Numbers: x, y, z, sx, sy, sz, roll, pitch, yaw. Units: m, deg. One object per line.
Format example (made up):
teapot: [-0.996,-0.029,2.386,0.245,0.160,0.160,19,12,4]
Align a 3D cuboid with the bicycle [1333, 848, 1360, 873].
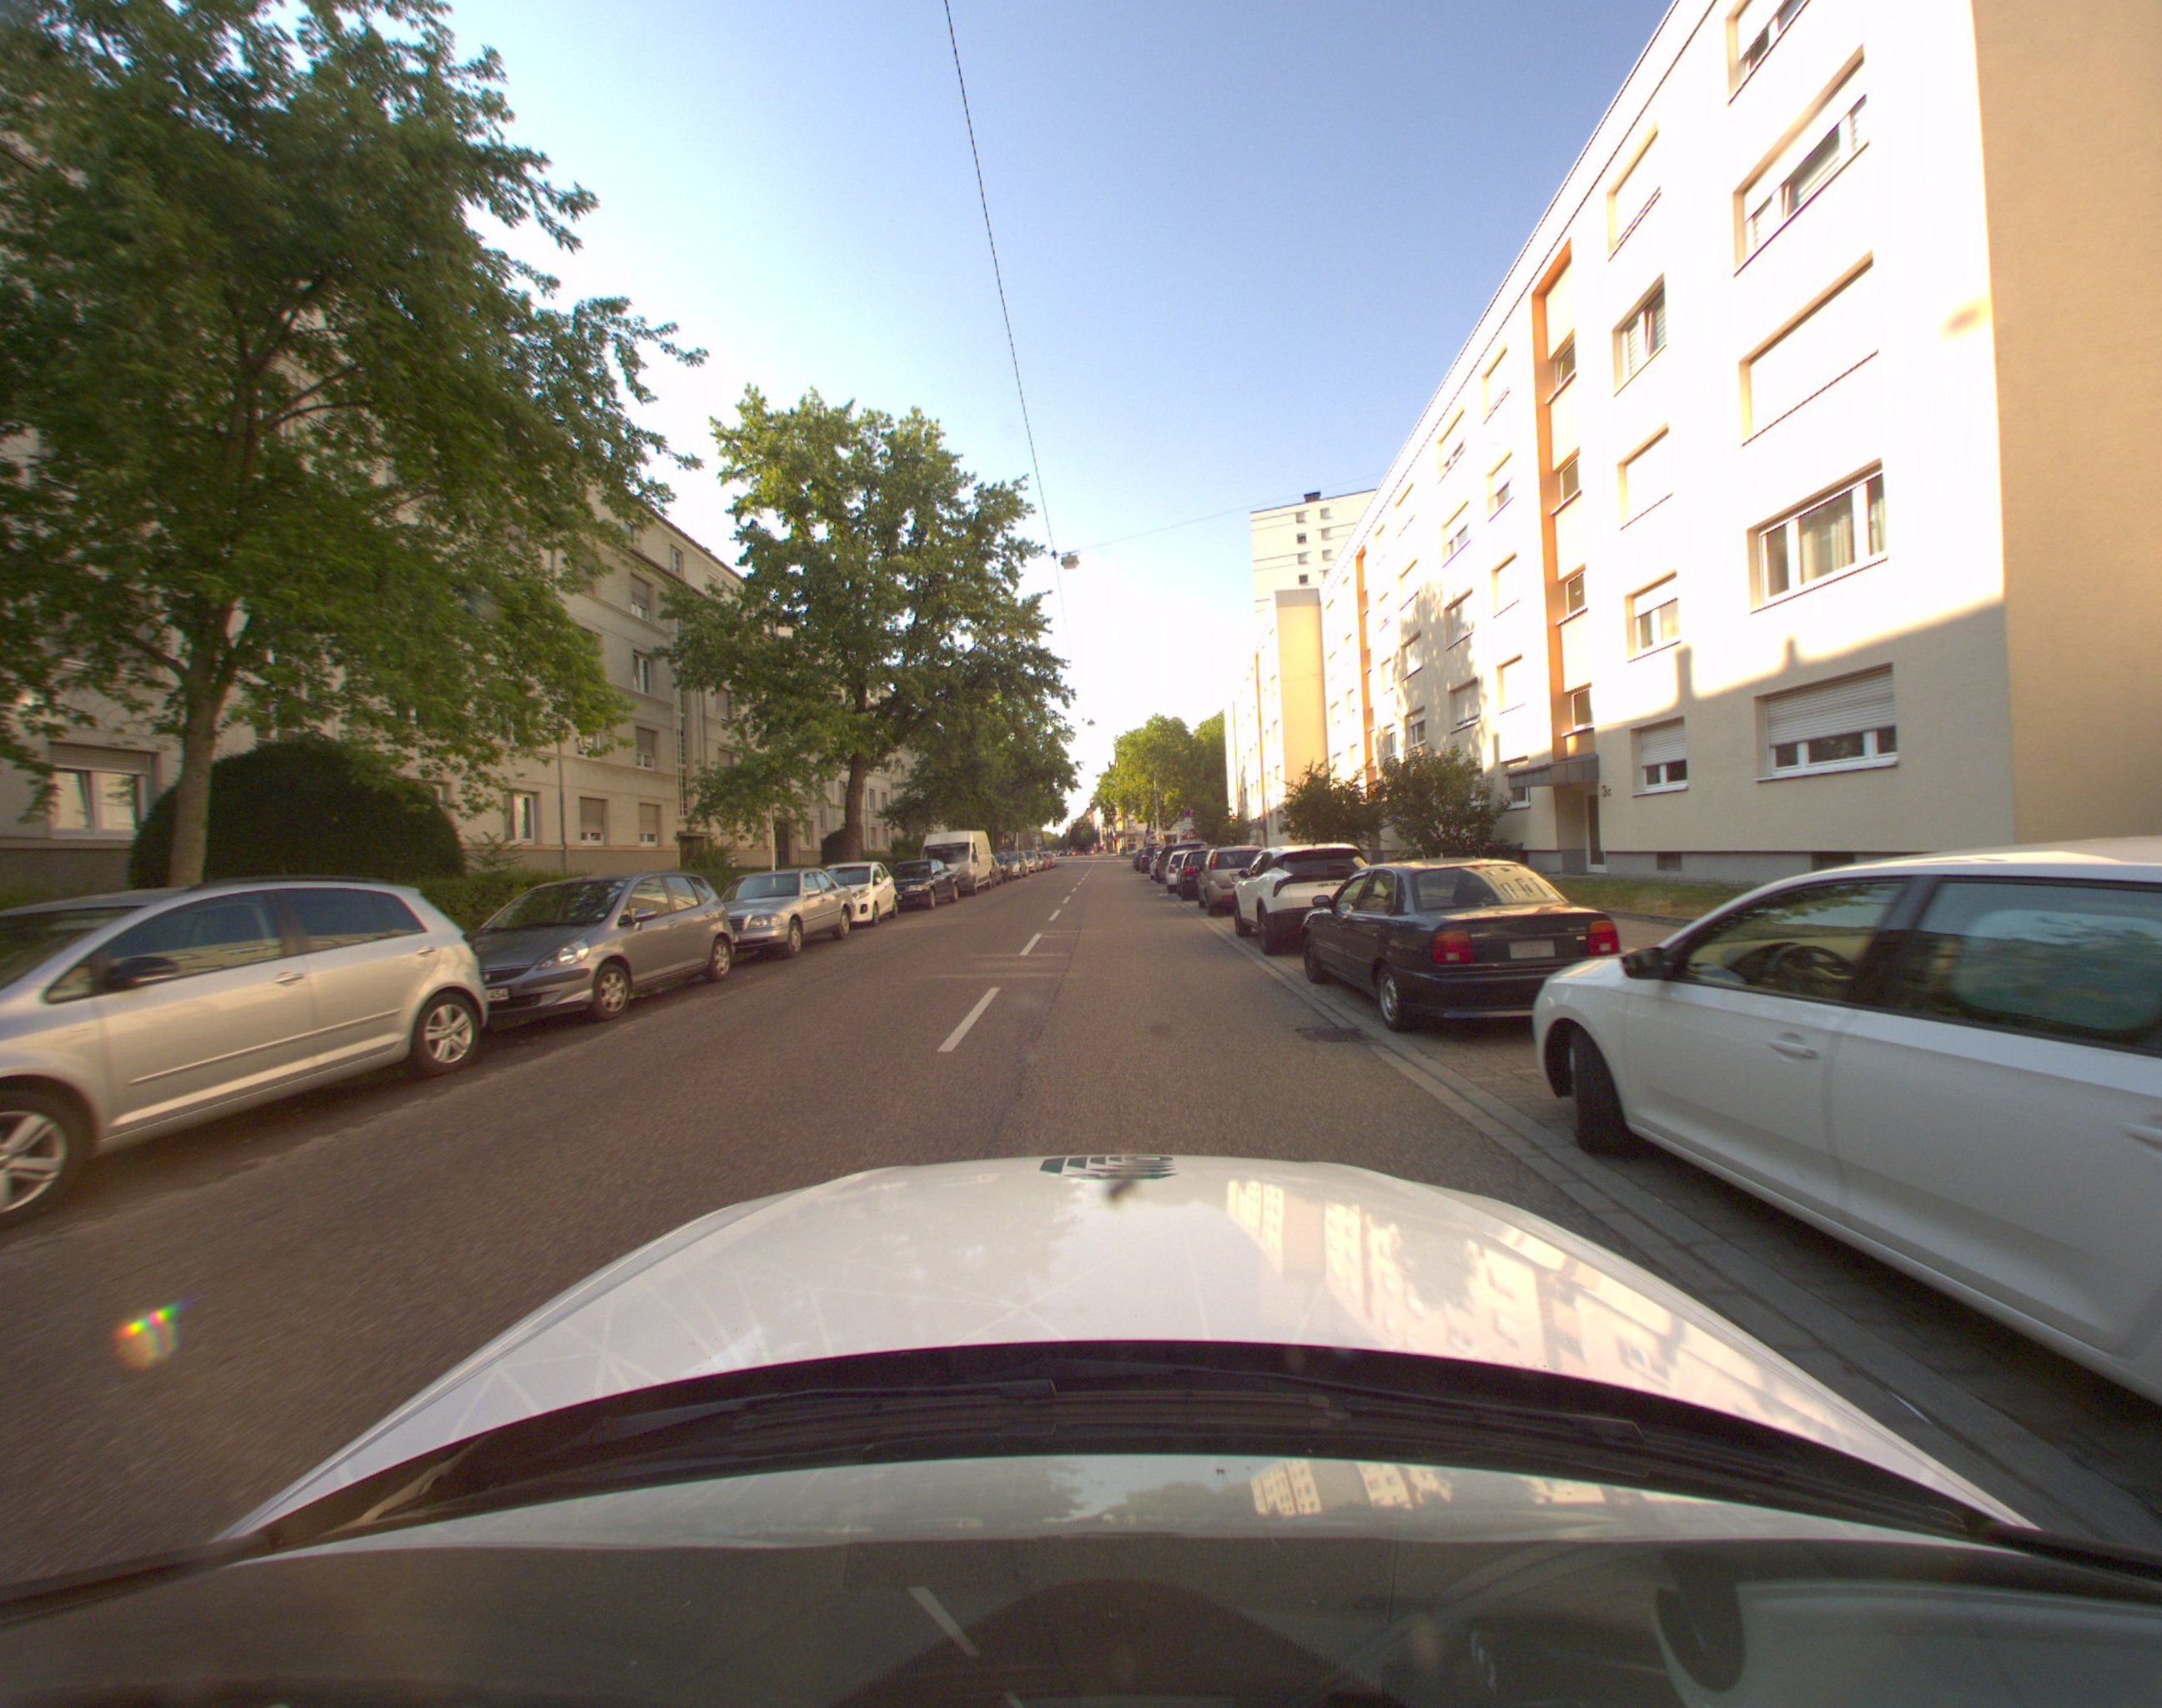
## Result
bicycle: [12.999,0.302,39.883,0.598,1.081,2.394,-2,1,2]

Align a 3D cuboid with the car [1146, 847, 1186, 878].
car: [4.176,0.432,40.503,1.673,1.415,4.725,0,-1,2]

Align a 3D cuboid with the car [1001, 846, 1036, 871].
car: [-4.131,0.320,54.304,1.864,1.558,4.102,0,-1,2]

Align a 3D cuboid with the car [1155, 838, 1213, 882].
car: [4.336,0.260,34.921,2.016,1.750,4.768,0,-1,2]

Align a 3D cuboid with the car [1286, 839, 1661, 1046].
car: [3.277,0.650,7.847,1.654,1.438,4.314,0,-1,2]

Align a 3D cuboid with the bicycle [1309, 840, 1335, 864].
bicycle: [11.740,-0.107,39.802,0.598,1.081,2.394,-2,1,2]

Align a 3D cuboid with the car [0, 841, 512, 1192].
car: [-5.745,0.790,4.812,1.867,1.552,3.999,-3,-1,0]

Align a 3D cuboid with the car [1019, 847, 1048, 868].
car: [-3.684,0.307,64.194,1.864,1.558,4.498,0,-1,2]

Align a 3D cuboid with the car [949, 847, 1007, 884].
car: [-4.631,0.531,37.317,1.949,1.558,4.347,0,-1,2]

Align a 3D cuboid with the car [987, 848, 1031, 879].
car: [-4.152,0.501,47.816,1.864,1.558,5.058,-6,0,1]

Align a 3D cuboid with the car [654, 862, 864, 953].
car: [-5.429,0.840,14.503,1.867,1.355,4.652,0,-1,0]

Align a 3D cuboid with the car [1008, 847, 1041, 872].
car: [-4.066,0.426,59.077,1.909,1.677,4.975,0,-1,2]

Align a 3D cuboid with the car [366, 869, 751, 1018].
car: [-5.616,0.858,9.504,1.867,1.355,3.999,0,-1,0]

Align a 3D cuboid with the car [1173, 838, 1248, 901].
car: [3.908,0.482,25.106,1.830,1.772,3.980,0,-1,2]

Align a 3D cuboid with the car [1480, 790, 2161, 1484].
car: [3.175,0.565,2.658,1.765,1.453,4.001,-6,-1,2]

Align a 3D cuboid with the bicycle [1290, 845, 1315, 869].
bicycle: [10.799,0.140,39.703,0.598,1.081,2.394,-2,1,2]

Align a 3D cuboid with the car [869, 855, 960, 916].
car: [-4.890,0.893,24.421,1.701,1.574,3.821,-3,-1,2]

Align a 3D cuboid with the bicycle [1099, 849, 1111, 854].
bicycle: [5.798,-0.621,198.288,2.800,1.203,0.515,0,-1,-7]

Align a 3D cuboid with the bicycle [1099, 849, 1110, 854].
bicycle: [5.674,-0.645,196.744,2.798,1.203,0.509,0,-1,-5]

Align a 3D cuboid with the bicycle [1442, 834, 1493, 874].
bicycle: [11.672,0.019,24.658,0.491,1.113,2.398,-6,-1,5]

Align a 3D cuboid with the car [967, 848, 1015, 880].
car: [-4.637,0.534,42.553,1.864,1.558,4.367,0,-1,2]

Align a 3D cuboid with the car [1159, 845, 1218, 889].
car: [3.853,0.468,29.687,1.829,1.501,4.175,0,-1,3]

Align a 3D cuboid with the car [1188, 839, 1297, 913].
car: [3.806,0.518,19.912,1.954,1.605,4.281,-1,-1,2]

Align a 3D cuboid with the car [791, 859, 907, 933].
car: [-5.426,0.950,19.471,1.701,1.574,3.262,-1,-1,2]

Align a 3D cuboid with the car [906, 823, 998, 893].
car: [-4.818,0.200,31.564,2.349,2.446,6.167,0,-1,2]

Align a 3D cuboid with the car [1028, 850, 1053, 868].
car: [-3.426,0.449,69.555,1.864,1.558,4.001,0,-1,2]

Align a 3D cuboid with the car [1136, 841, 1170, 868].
car: [4.654,0.035,52.827,1.891,1.651,4.344,-1,0,1]

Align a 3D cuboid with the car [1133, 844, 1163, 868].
car: [4.827,0.182,58.874,1.920,1.659,4.679,0,-1,2]

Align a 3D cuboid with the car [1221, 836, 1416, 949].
car: [3.497,0.536,12.801,1.867,1.442,3.999,-2,-1,0]
